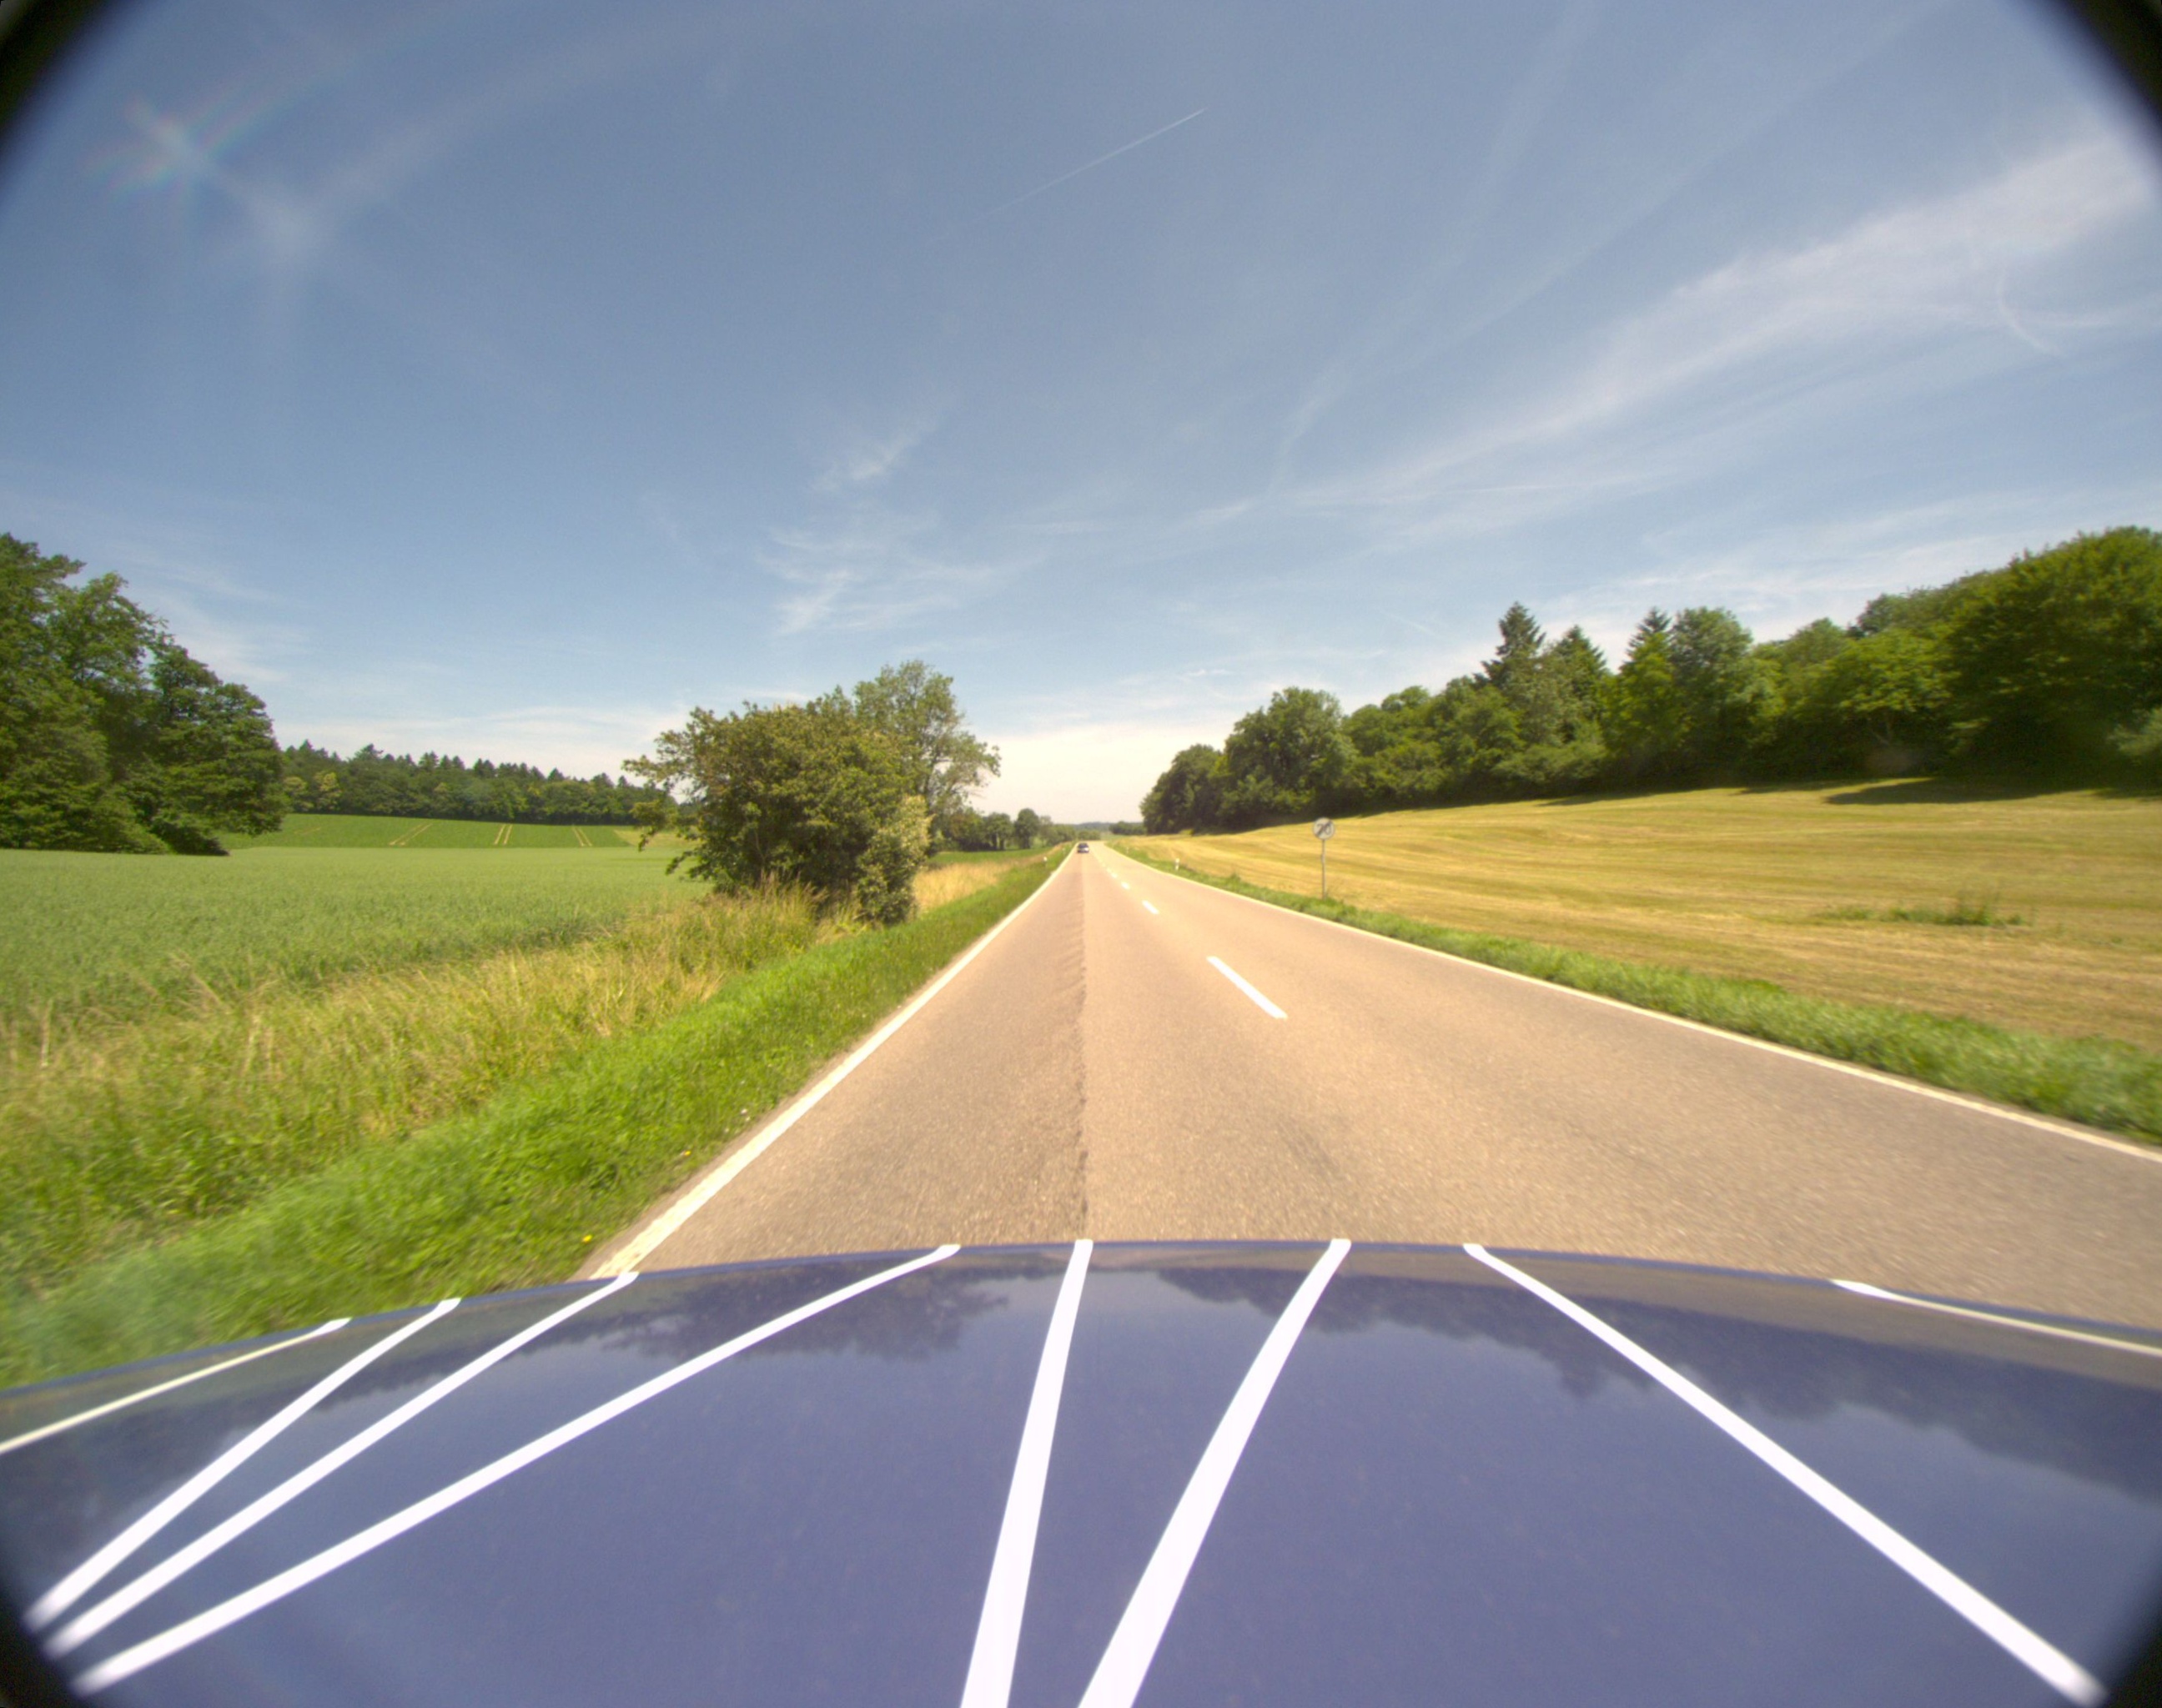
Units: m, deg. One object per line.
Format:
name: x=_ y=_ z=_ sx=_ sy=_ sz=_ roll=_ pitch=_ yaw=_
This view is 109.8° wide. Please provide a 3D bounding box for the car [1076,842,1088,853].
car: x=0.202 y=-1.002 z=119.106 sx=1.815 sy=1.569 sz=4.155 roll=-2 pitch=-1 yaw=1
